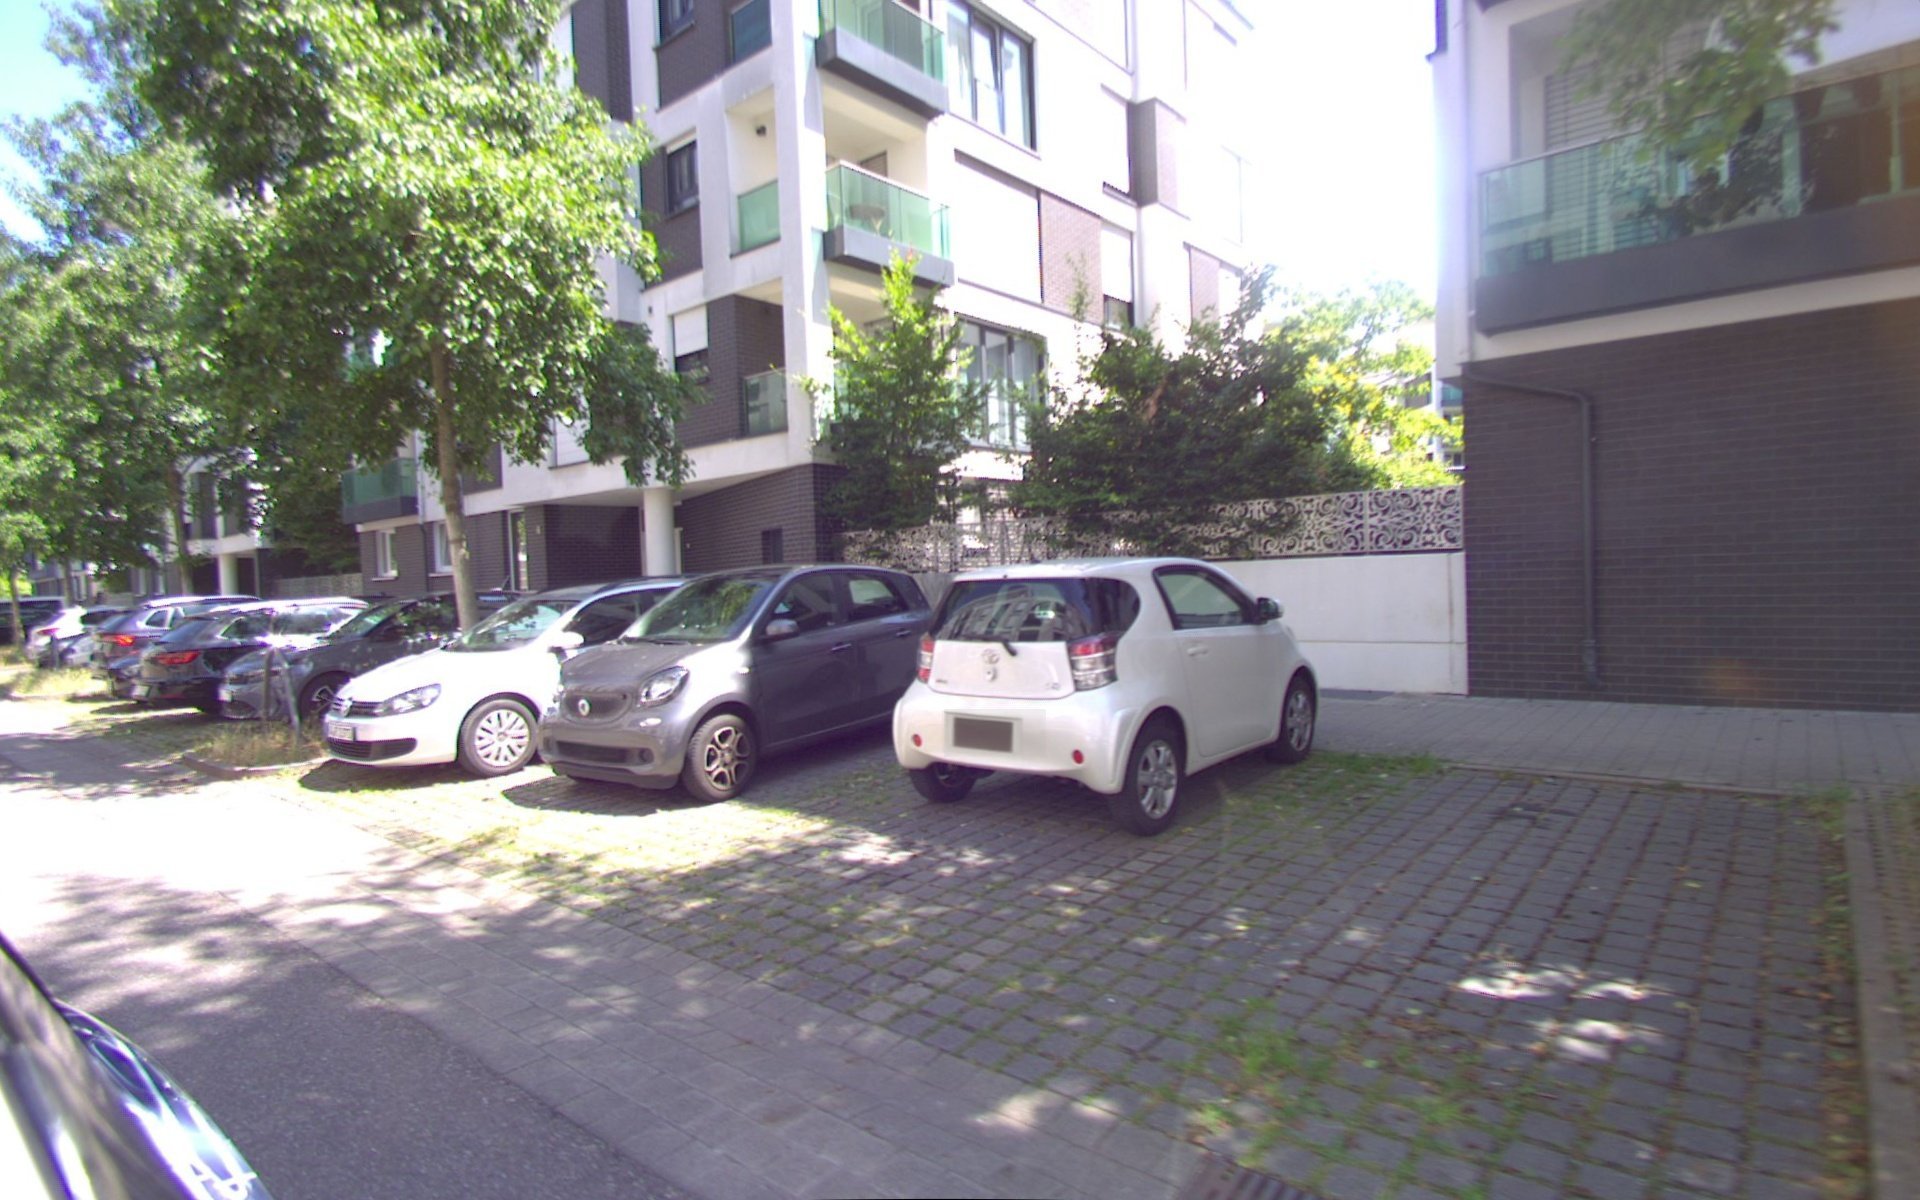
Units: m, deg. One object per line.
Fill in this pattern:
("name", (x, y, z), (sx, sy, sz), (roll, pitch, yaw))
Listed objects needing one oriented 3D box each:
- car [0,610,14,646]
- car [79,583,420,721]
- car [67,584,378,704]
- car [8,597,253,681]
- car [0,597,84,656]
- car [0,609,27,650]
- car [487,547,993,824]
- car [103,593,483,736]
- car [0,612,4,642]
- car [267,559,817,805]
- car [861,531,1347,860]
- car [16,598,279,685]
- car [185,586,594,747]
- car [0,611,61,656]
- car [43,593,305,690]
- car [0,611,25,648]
("car", (-46.461, 1.456, 46.657), (1.949, 1.641, 3.939), (-1, 3, 42))
("car", (-10.909, 0.694, 15.732), (1.918, 1.663, 3.945), (-1, 3, 42))
("car", (-12.665, 0.662, 17.566), (1.932, 1.641, 3.947), (-1, 3, 40))
("car", (-19.865, 0.874, 24.397), (1.923, 1.528, 4.211), (-1, 4, 40))
("car", (-36.798, 1.057, 38.270), (2.187, 2.126, 5.285), (-1, 1, 42))
("car", (-42.490, 1.374, 43.199), (1.850, 1.688, 3.644), (-1, 3, 40))
("car", (-1.519, 0.456, 8.151), (1.817, 1.597, 3.677), (-1, 3, 35))
("car", (-8.974, 0.759, 13.924), (1.772, 1.456, 3.939), (-1, 3, 36))
("car", (-53.909, 1.594, 53.243), (2.039, 1.644, 4.982), (-2, 2, 38))
("car", (-3.600, 0.580, 9.424), (1.997, 1.723, 4.319), (-1, -1, 38))
("car", (1.076, 0.402, 6.573), (1.846, 1.511, 2.905), (-2, 4, 39))
("car", (-18.092, 0.863, 22.707), (1.791, 1.486, 4.274), (-2, 3, 40))
("car", (-6.896, 0.686, 12.548), (1.896, 1.432, 3.946), (-2, 3, 41))
("car", (-34.810, 1.266, 36.291), (1.676, 1.492, 3.588), (-1, 3, 39))
("car", (-16.191, 0.782, 20.994), (1.883, 1.603, 3.947), (-2, 3, 41))
("car", (-44.644, 1.462, 44.731), (1.962, 1.605, 4.520), (-1, 3, 35))
